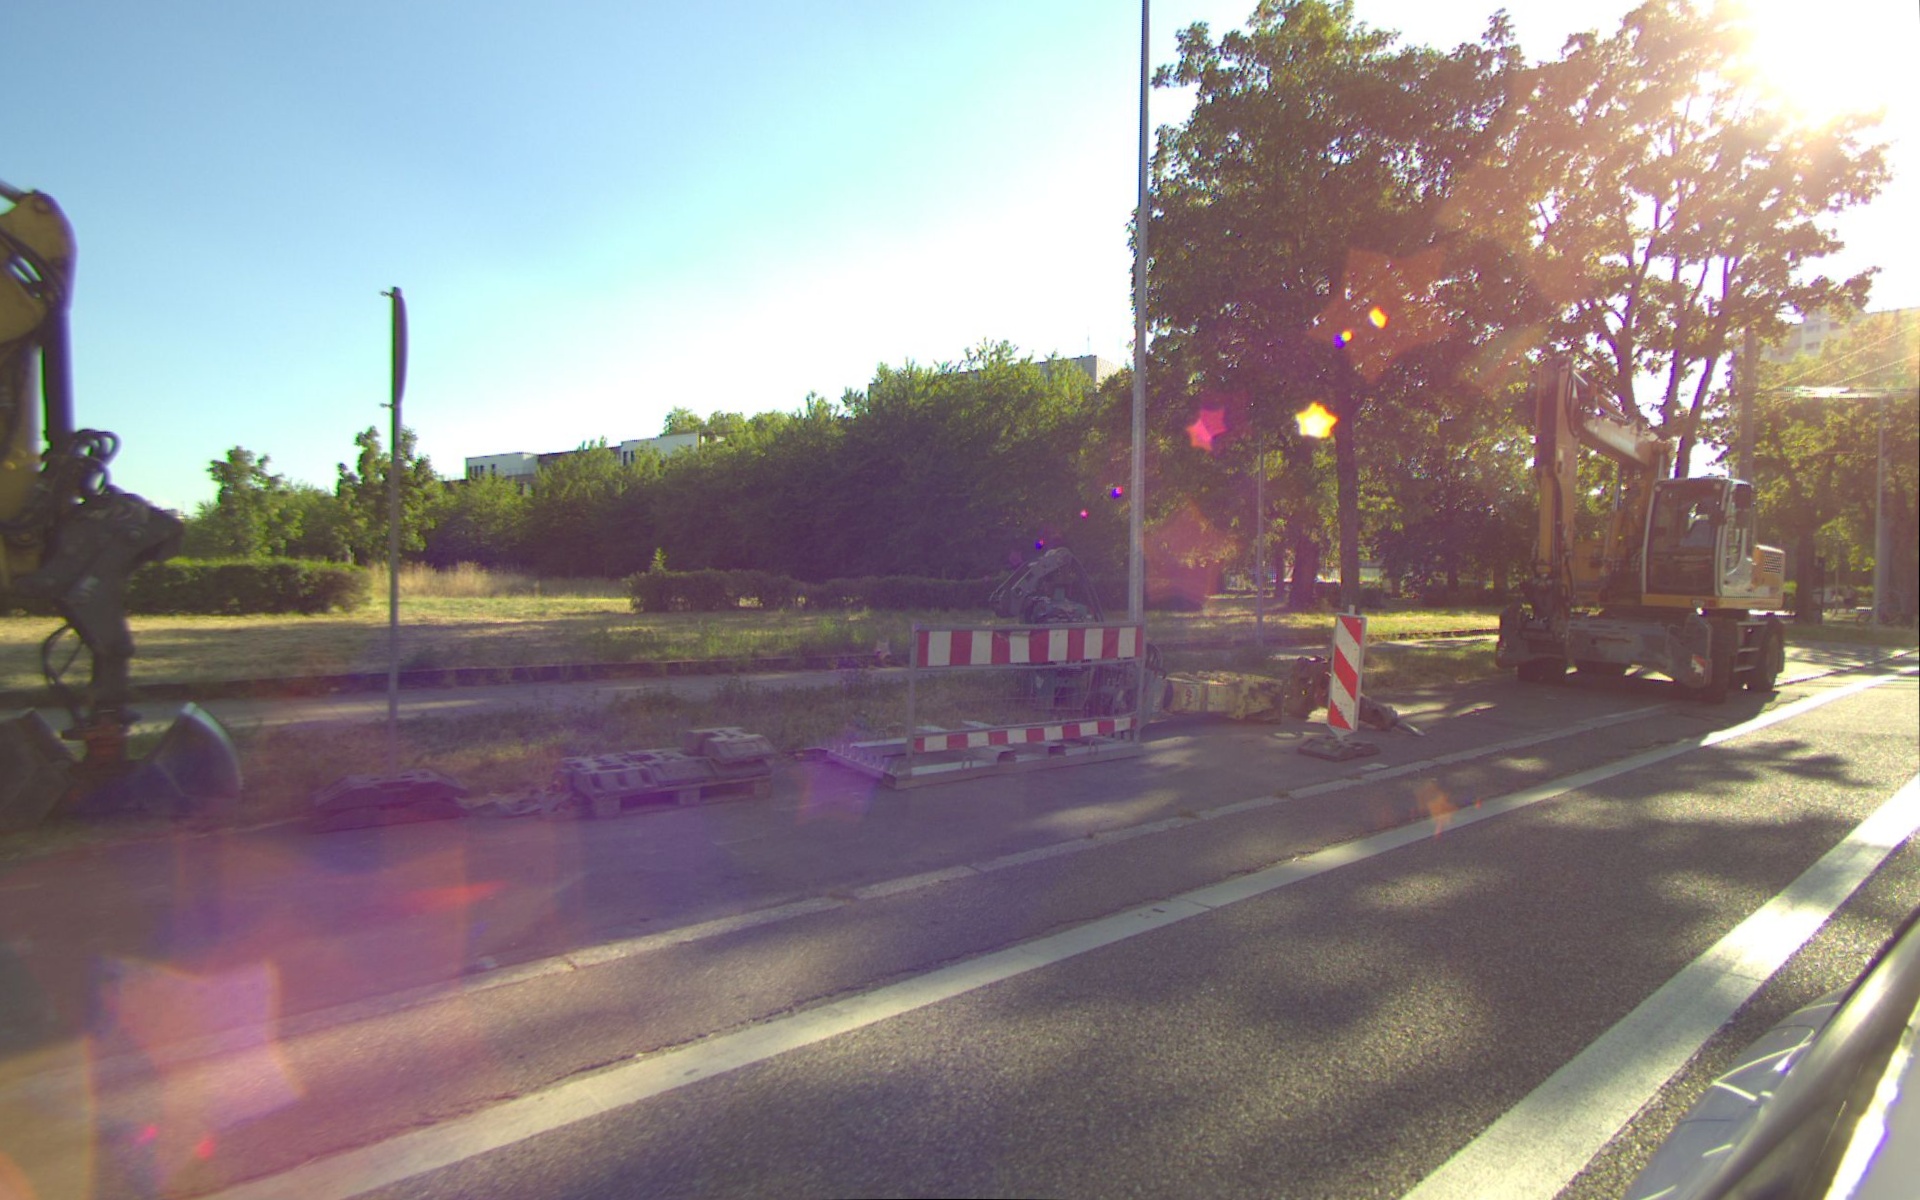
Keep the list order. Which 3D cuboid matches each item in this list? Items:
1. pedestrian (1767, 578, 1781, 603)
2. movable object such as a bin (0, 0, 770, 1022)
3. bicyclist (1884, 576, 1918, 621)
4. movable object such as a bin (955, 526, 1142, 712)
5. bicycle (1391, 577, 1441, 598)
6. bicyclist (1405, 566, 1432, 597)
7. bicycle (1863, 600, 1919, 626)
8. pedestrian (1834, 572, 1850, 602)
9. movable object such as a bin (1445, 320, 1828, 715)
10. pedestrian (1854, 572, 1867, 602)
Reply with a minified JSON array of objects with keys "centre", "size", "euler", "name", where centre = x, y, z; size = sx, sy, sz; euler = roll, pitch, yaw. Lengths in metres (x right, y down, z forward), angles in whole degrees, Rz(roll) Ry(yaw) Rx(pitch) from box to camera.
[{"centre":[48.867,-0.564,60.737],"size":[0.504,1.460,0.549],"euler":[0,2,-42],"name":"pedestrian"},{"centre":[-4.854,-0.777,3.680],"size":[7.468,4.024,3.345],"euler":[-1,4,-42],"name":"movable object such as a bin"},{"centre":[36.989,-0.049,39.776],"size":[0.707,1.735,0.747],"euler":[0,-1,-28],"name":"bicyclist"},{"centre":[0.907,0.145,10.572],"size":[1.278,1.687,1.323],"euler":[0,7,-36],"name":"movable object such as a bin"},{"centre":[23.842,-0.666,52.945],"size":[2.276,1.069,0.611],"euler":[1,1,36],"name":"bicycle"},{"centre":[23.935,-0.975,52.858],"size":[1.199,1.559,0.611],"euler":[1,1,36],"name":"bicyclist"},{"centre":[36.971,0.516,39.797],"size":[0.707,0.991,2.065],"euler":[-1,0,-28],"name":"bicycle"},{"centre":[56.650,-0.841,64.988],"size":[0.555,1.864,0.645],"euler":[0,2,-42],"name":"pedestrian"},{"centre":[10.671,-1.102,15.603],"size":[7.468,4.665,2.920],"euler":[-1,4,-42],"name":"movable object such as a bin"},{"centre":[57.211,-0.827,64.319],"size":[0.555,1.864,0.501],"euler":[0,2,-42],"name":"pedestrian"}]
